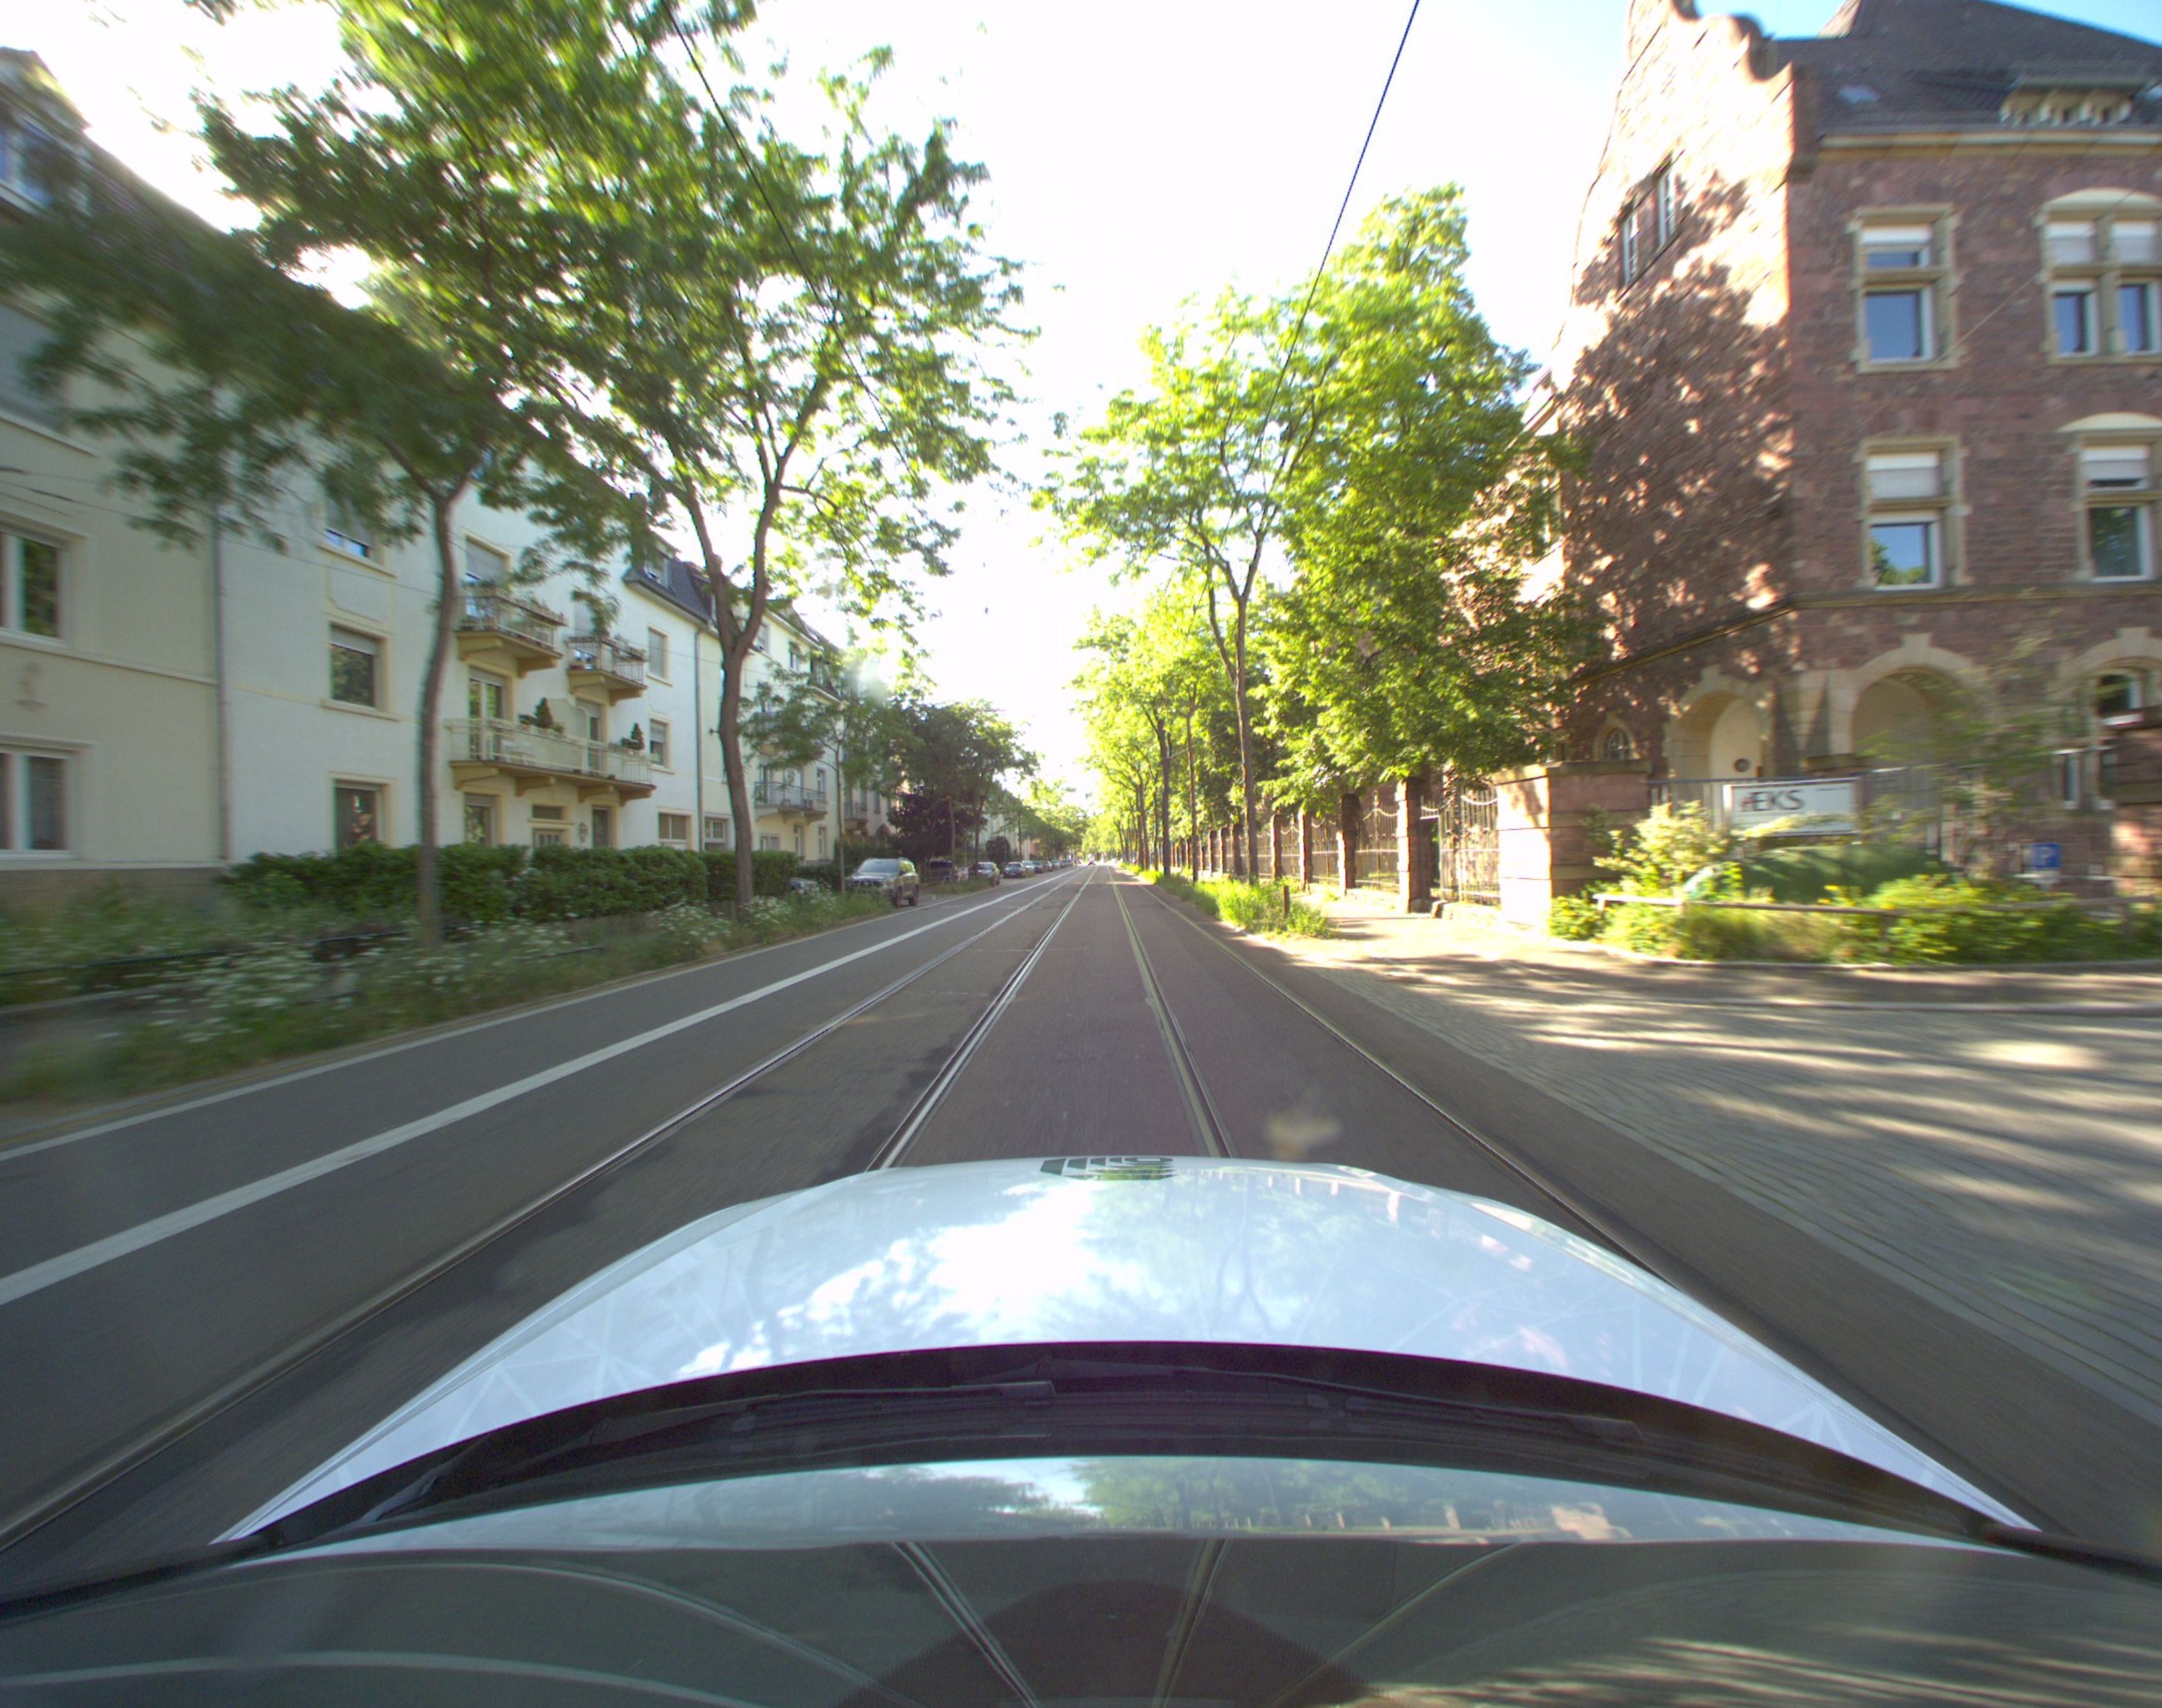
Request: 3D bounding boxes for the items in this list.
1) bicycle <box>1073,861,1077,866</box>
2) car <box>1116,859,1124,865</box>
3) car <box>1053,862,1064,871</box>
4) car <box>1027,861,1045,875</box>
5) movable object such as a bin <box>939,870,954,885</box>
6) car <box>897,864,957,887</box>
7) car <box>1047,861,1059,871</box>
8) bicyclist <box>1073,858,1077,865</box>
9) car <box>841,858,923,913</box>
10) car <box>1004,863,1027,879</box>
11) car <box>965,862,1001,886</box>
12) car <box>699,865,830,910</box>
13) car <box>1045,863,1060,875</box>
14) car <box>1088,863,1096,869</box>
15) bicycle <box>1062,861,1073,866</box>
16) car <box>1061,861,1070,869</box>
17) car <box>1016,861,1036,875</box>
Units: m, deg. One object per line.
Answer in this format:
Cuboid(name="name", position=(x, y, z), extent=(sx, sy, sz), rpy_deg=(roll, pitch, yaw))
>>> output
Cuboid(name="bicycle", position=(-1.286, 2.036, 177.962), extent=(0.624, 1.177, 1.913), rpy_deg=(-4, -1, 2))
Cuboid(name="car", position=(11.906, 2.414, 248.409), extent=(1.938, 1.610, 3.995), rpy_deg=(-1, -1, -3))
Cuboid(name="car", position=(-3.995, 2.234, 143.685), extent=(1.681, 1.485, 3.760), rpy_deg=(1, -1, 0))
Cuboid(name="car", position=(-5.314, 1.635, 96.632), extent=(1.752, 1.511, 4.438), rpy_deg=(0, 0, 0))
Cuboid(name="movable object such as a bin", position=(-9.798, 1.710, 59.360), extent=(0.872, 1.066, 0.814), rpy_deg=(-2, -1, 1))
Cuboid(name="car", position=(-11.747, 1.626, 62.162), extent=(4.153, 1.659, 1.983), rpy_deg=(-1, -1, 0))
Cuboid(name="car", position=(-4.607, 2.010, 135.810), extent=(1.696, 1.485, 4.080), rpy_deg=(1, 0, 1))
Cuboid(name="bicyclist", position=(-1.310, 1.615, 177.903), extent=(0.624, 1.639, 0.940), rpy_deg=(-4, -1, 1))
Cuboid(name="car", position=(-7.213, 1.093, 30.000), extent=(1.864, 1.823, 4.770), rpy_deg=(-1, -1, 0))
Cuboid(name="car", position=(-6.009, 1.526, 74.909), extent=(1.700, 1.406, 4.334), rpy_deg=(0, 0, 1))
Cuboid(name="car", position=(-6.627, 1.331, 55.647), extent=(1.770, 1.541, 4.487), rpy_deg=(0, 0, 2))
Cuboid(name="car", position=(-12.176, 1.287, 31.520), extent=(4.283, 1.661, 1.954), rpy_deg=(0, -1, 2))
Cuboid(name="car", position=(-3.807, 1.994, 109.815), extent=(1.810, 1.485, 4.207), rpy_deg=(0, 0, 1))
Cuboid(name="car", position=(2.404, 2.699, 185.961), extent=(1.752, 1.439, 4.523), rpy_deg=(-1, -1, 0))
Cuboid(name="bicycle", position=(-2.820, 2.017, 172.968), extent=(2.272, 1.198, 0.561), rpy_deg=(1, 0, 8))
Cuboid(name="car", position=(-2.910, 2.102, 153.699), extent=(1.555, 1.457, 3.929), rpy_deg=(1, -1, -1))
Cuboid(name="car", position=(-5.811, 1.468, 86.416), extent=(1.811, 1.511, 4.371), rpy_deg=(0, 0, 0))
